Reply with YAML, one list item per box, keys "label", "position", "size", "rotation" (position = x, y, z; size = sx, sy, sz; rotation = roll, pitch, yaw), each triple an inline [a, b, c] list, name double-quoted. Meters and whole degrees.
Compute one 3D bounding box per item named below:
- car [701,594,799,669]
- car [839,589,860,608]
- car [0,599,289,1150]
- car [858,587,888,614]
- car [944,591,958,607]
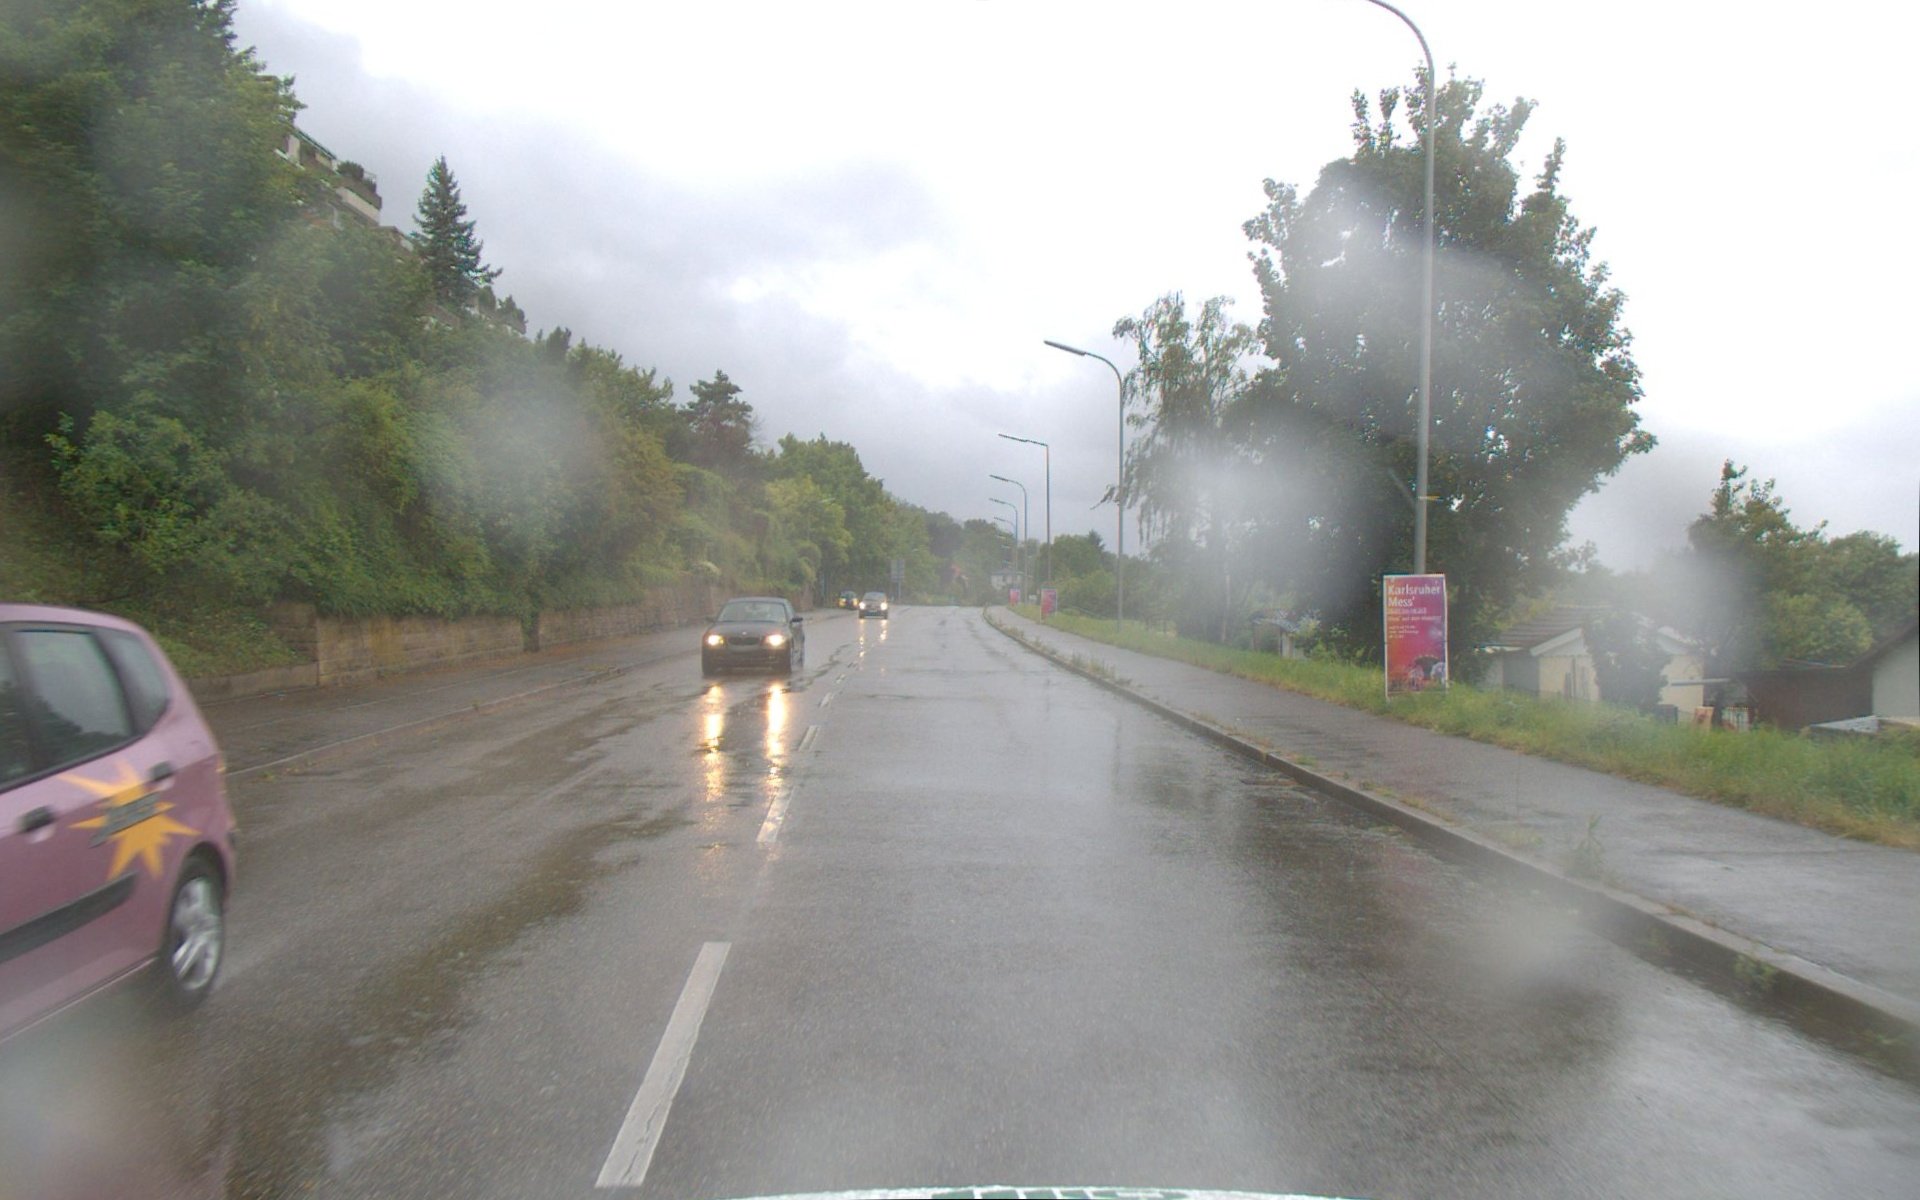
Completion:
- label: "car"
  position: [-4.033, 0.579, 32.217]
  size: [1.621, 1.375, 3.984]
  rotation: [0, 0, -4]
- label: "car"
  position: [-8.961, -0.159, 134.689]
  size: [1.693, 1.522, 3.984]
  rotation: [0, 0, -4]
- label: "car"
  position: [-3.421, 0.740, 4.779]
  size: [1.629, 1.486, 3.660]
  rotation: [0, 0, -3]
- label: "car"
  position: [-5.093, 0.031, 97.093]
  size: [1.724, 1.522, 4.125]
  rotation: [0, 0, -3]
- label: "car"
  position: [-1.231, -0.123, 225.212]
  size: [1.953, 2.049, 3.999]
  rotation: [1, 0, -1]
